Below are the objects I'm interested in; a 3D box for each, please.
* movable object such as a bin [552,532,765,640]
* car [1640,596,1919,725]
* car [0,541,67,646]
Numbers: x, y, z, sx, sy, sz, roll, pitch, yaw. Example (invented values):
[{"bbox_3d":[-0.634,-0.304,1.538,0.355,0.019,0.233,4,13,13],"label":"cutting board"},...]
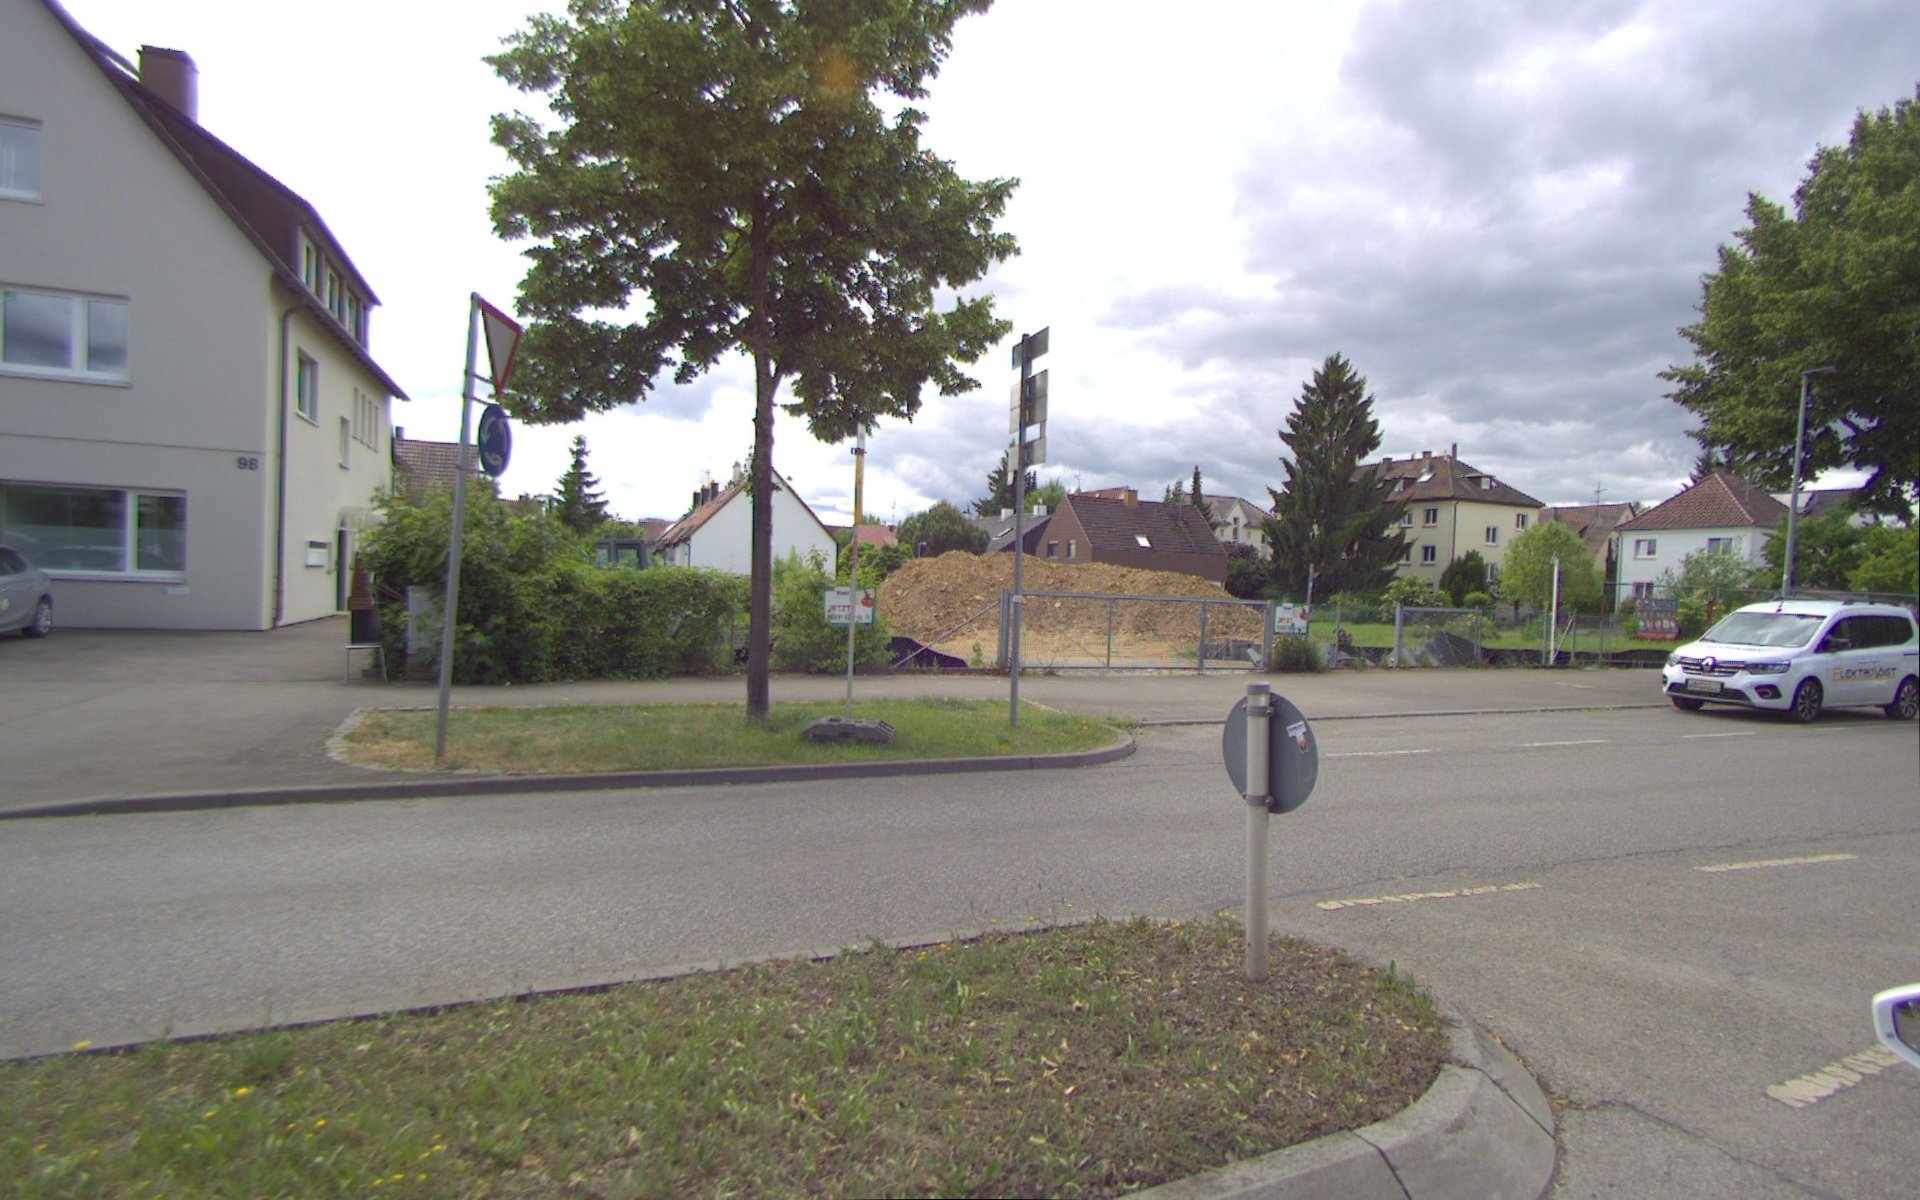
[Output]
[{"bbox_3d":[-6.779,-0.273,22.622,4.307,2.217,1.889,1,1,-27],"label":"movable object such as a bin"},{"bbox_3d":[13.207,0.908,16.026,4.487,1.794,1.766,1,1,-24],"label":"car"},{"bbox_3d":[-14.097,-0.116,13.724,1.723,1.421,3.907,1,2,-24],"label":"car"}]
